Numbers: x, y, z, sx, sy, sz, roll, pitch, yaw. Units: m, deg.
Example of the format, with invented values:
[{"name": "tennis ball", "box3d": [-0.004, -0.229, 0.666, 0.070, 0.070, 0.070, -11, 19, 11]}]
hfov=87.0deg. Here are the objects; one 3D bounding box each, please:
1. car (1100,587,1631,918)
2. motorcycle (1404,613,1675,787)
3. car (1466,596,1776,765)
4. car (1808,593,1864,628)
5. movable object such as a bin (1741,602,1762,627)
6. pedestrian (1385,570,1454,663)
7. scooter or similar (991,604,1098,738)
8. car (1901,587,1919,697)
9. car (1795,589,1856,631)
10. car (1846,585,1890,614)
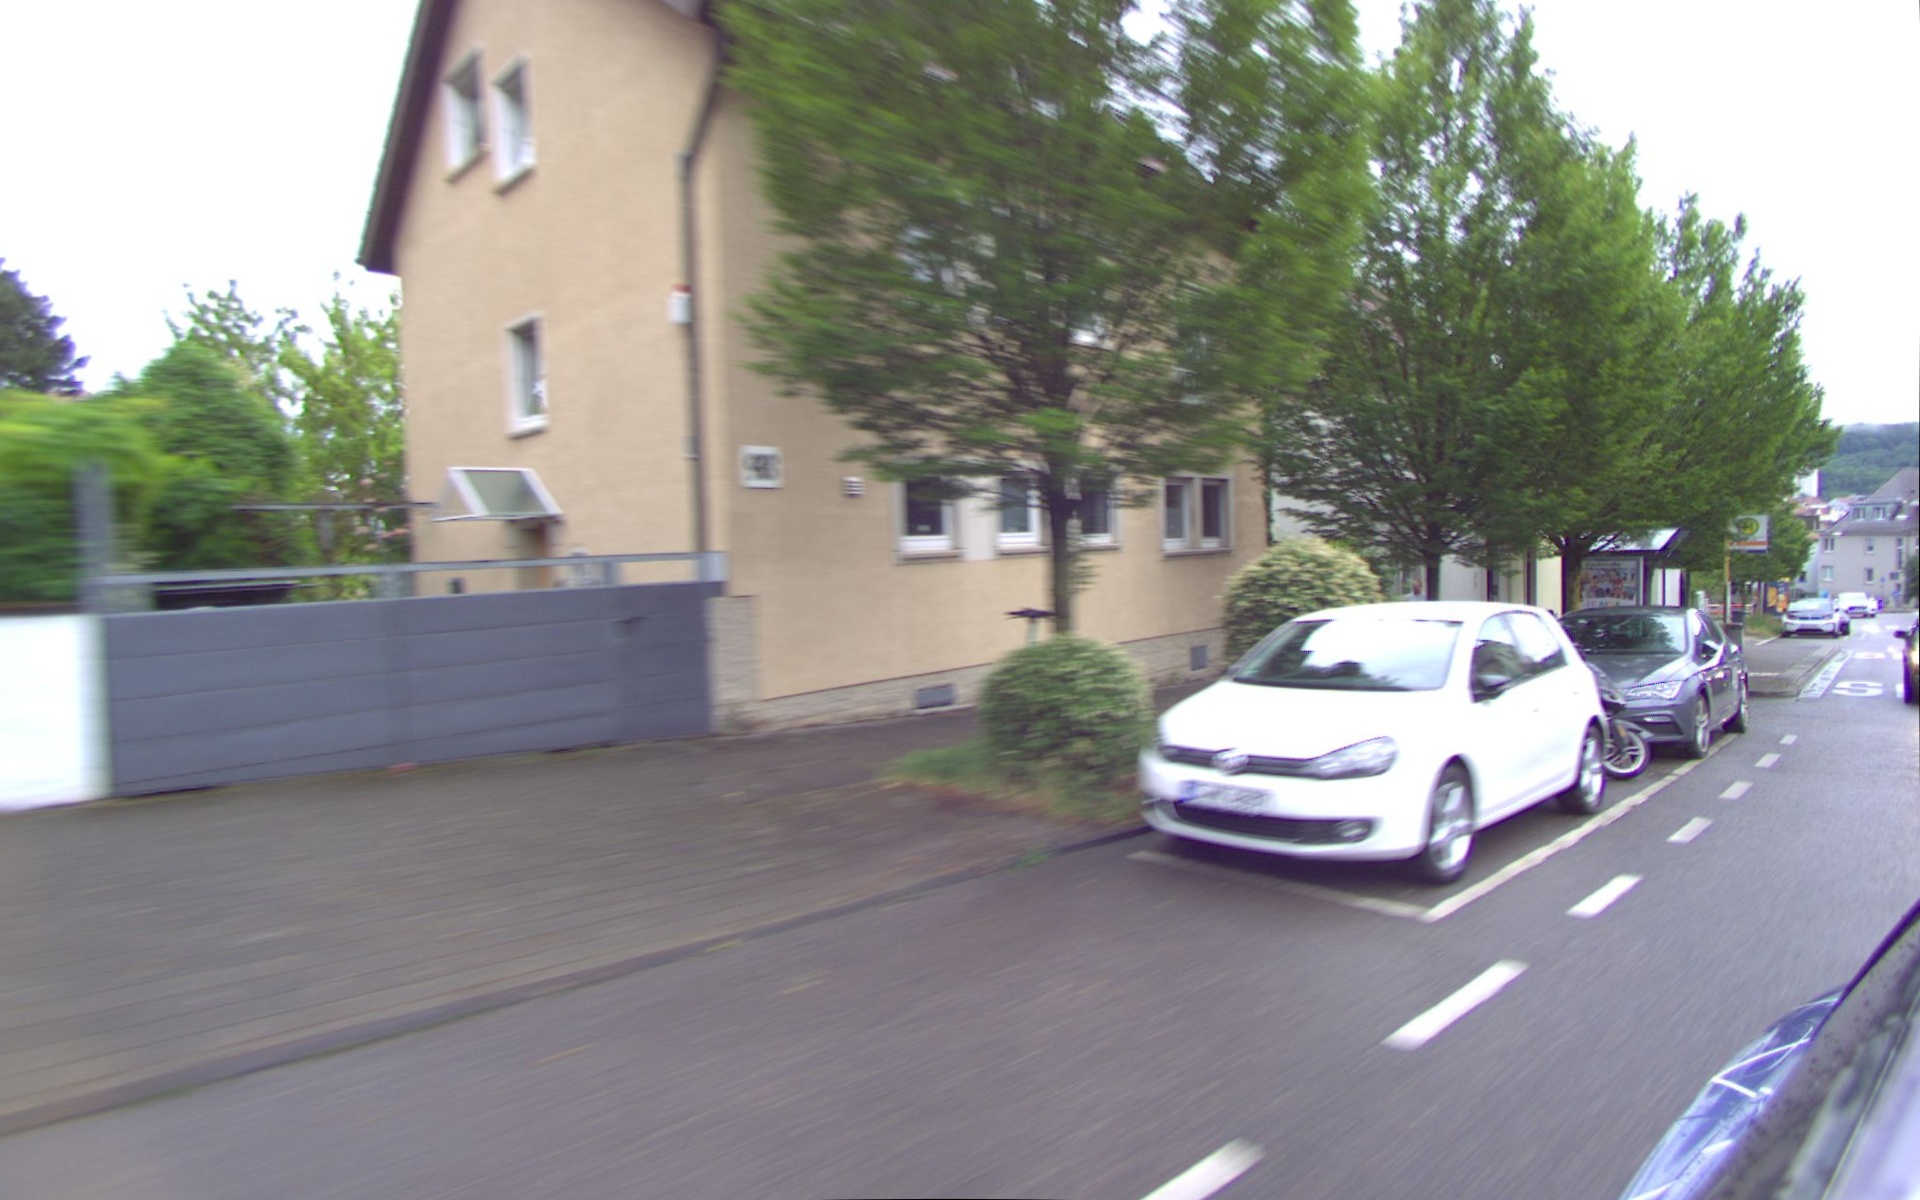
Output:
[{"name": "car", "box3d": [2.815, 0.689, 6.567, 3.932, 1.508, 1.658, -1, -1, -43]}, {"name": "motorcycle", "box3d": [4.999, 0.798, 8.820, 1.912, 1.347, 0.775, -2, -1, 43]}, {"name": "car", "box3d": [7.269, 0.688, 10.938, 4.394, 1.434, 1.880, 0, 0, -44]}, {"name": "car", "box3d": [38.519, 0.428, 44.564, 1.776, 1.457, 4.810, -1, 0, 40]}, {"name": "movable object such as a bin", "box3d": [31.867, 0.578, 40.757, 0.594, 0.986, 0.487, 0, 4, -40]}, {"name": "pedestrian", "box3d": [8.867, 0.300, 19.545, 1.028, 1.706, 0.833, 0, 3, -45]}, {"name": "scooter or similar", "box3d": [0.862, 0.677, 10.201, 1.155, 1.260, 0.413, 0, 1, -43]}, {"name": "car", "box3d": [15.399, 0.586, 15.158, 1.887, 1.549, 3.994, 0, 0, 43]}, {"name": "car", "box3d": [34.773, 0.384, 40.637, 1.728, 1.628, 4.057, -2, -1, 42]}, {"name": "car", "box3d": [61.086, -0.053, 68.155, 2.007, 1.927, 4.036, 0, 0, 39]}]
